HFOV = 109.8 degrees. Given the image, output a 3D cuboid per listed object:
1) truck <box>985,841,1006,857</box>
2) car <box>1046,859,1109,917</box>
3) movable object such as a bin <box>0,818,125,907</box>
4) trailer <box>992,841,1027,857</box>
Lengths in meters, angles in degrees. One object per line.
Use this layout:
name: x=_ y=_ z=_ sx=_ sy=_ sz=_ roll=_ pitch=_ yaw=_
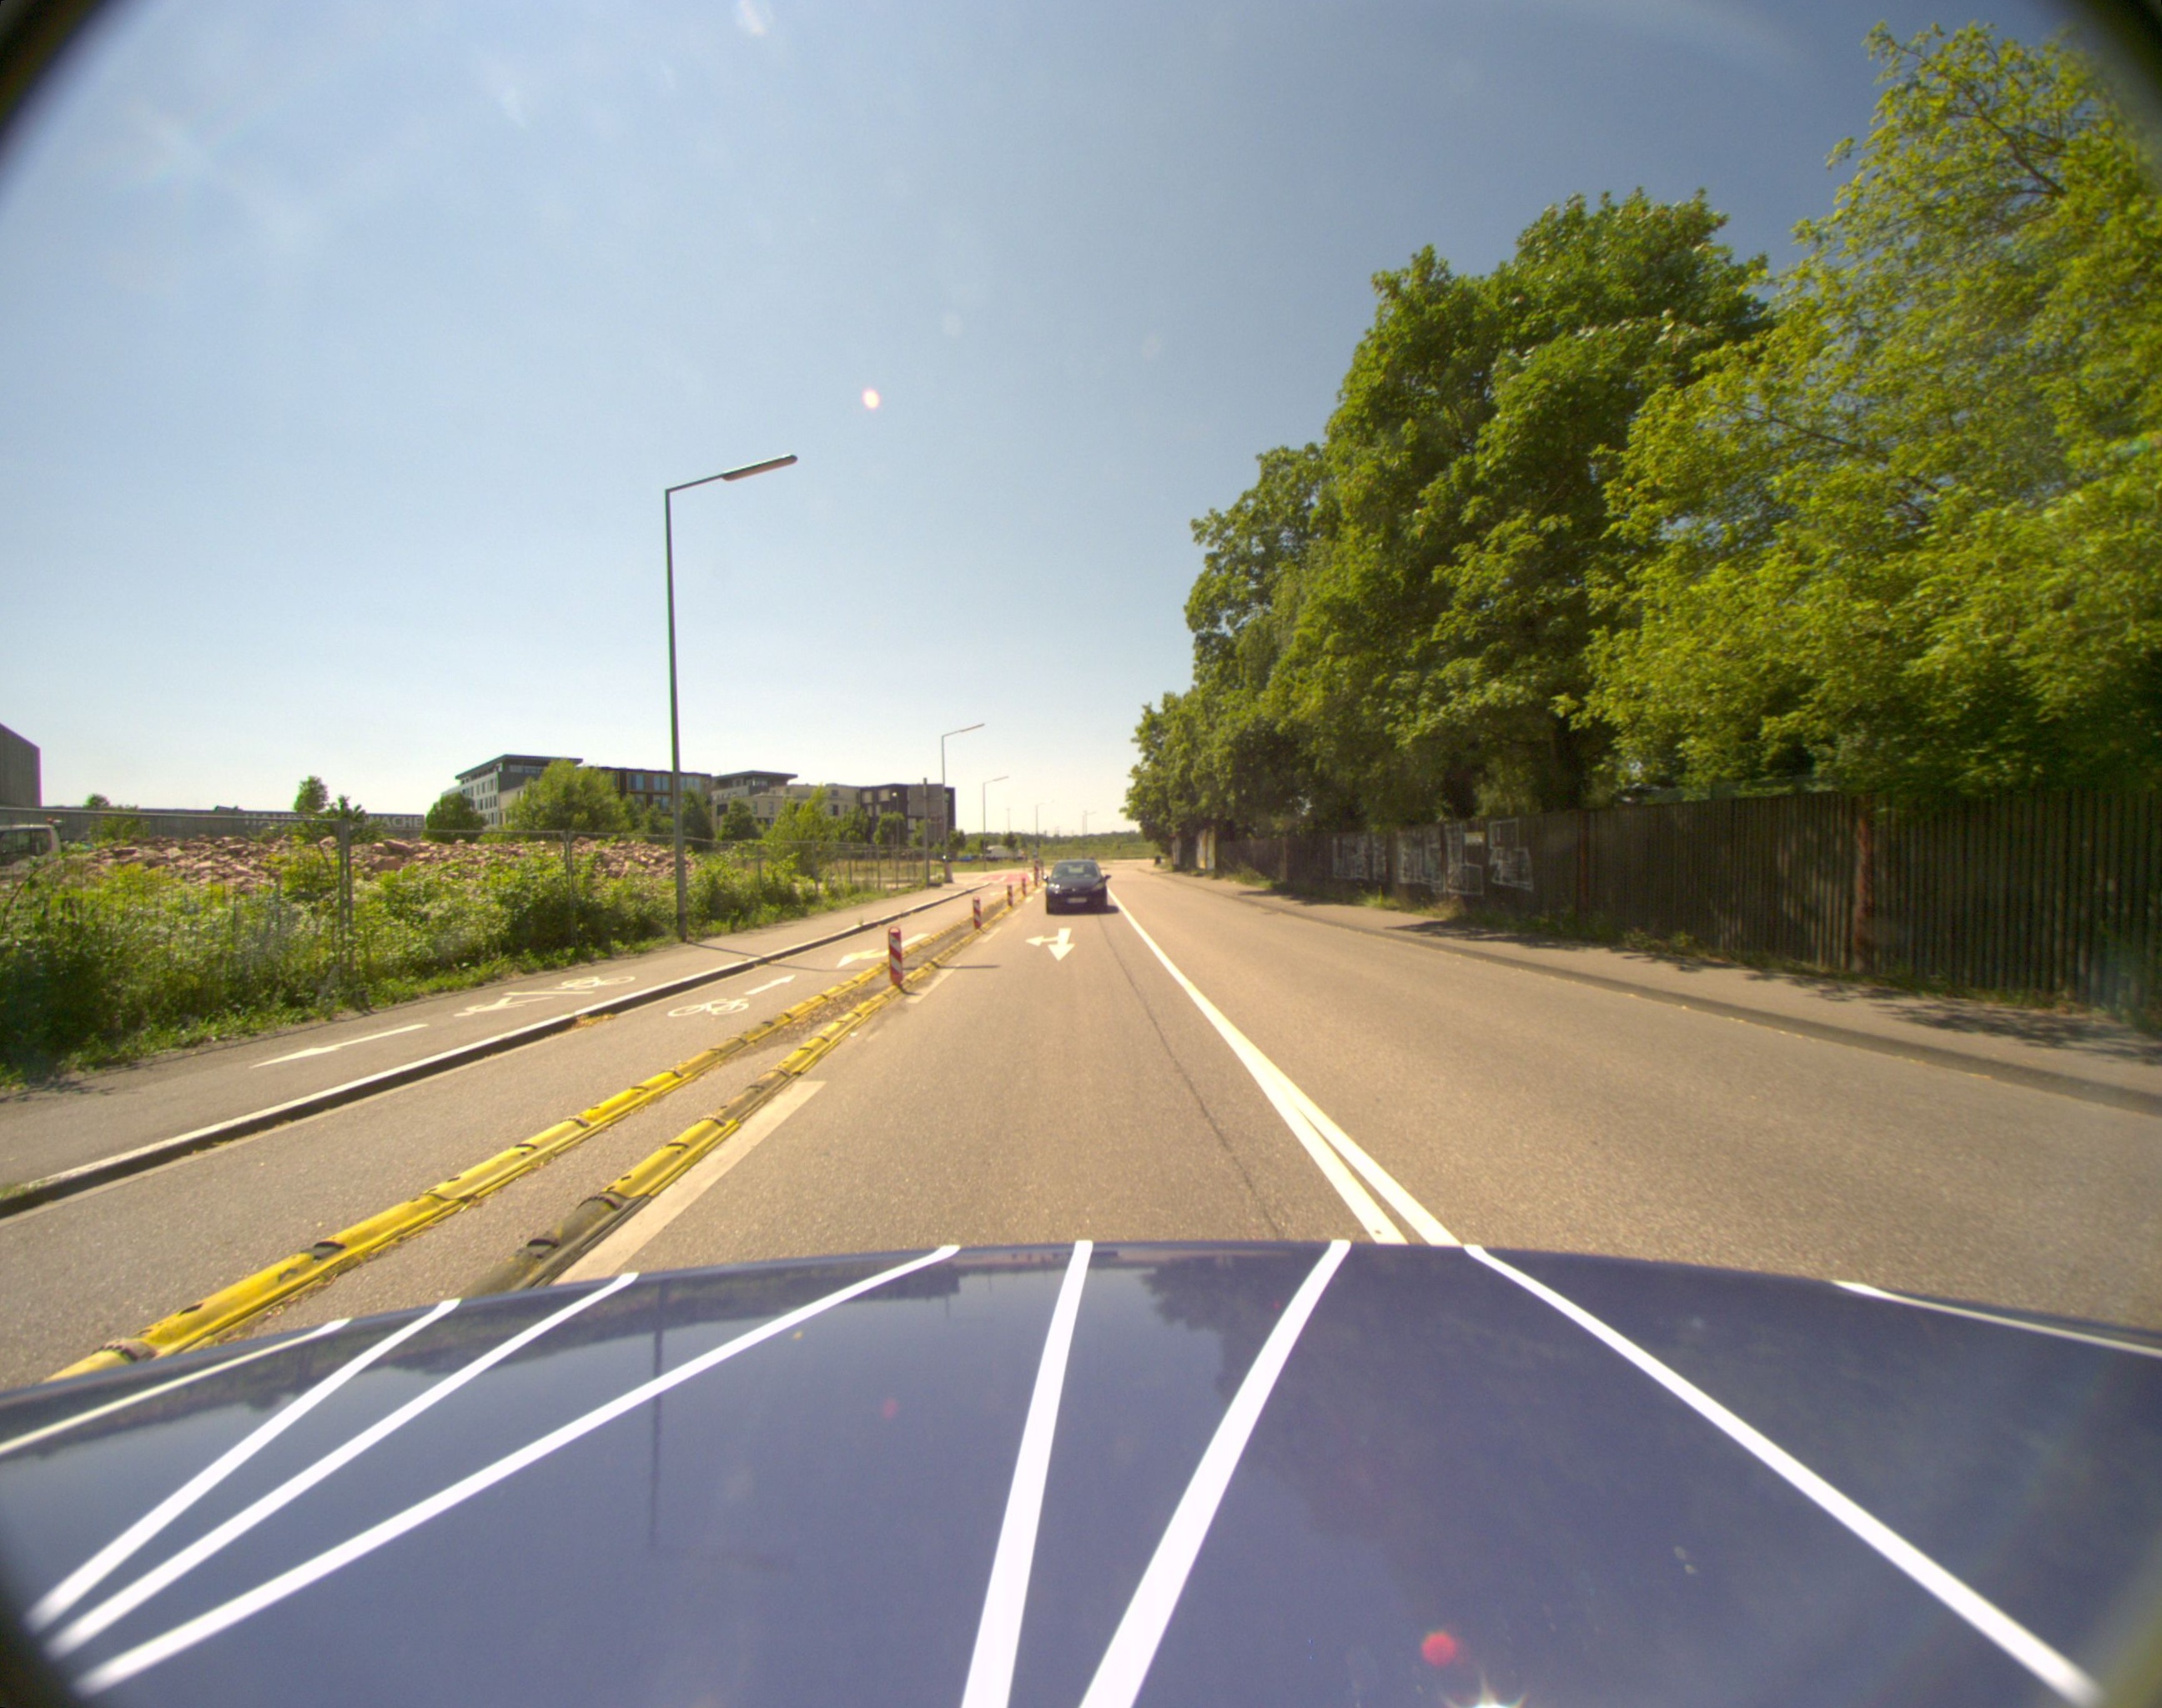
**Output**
truck: x=-18.162 y=-1.116 z=161.157 sx=4.008 sy=3.316 sz=1.994 roll=-1 pitch=1 yaw=-45
car: x=-0.065 y=0.902 z=21.834 sx=1.602 sy=1.422 sz=4.000 roll=-2 pitch=0 yaw=1
movable object such as a bin: x=-37.822 y=0.309 z=27.234 sx=2.205 sy=3.045 sz=3.690 roll=-2 pitch=1 yaw=6
trailer: x=-15.407 y=-1.139 z=163.899 sx=8.193 sy=3.329 sz=1.994 roll=-1 pitch=1 yaw=-45
